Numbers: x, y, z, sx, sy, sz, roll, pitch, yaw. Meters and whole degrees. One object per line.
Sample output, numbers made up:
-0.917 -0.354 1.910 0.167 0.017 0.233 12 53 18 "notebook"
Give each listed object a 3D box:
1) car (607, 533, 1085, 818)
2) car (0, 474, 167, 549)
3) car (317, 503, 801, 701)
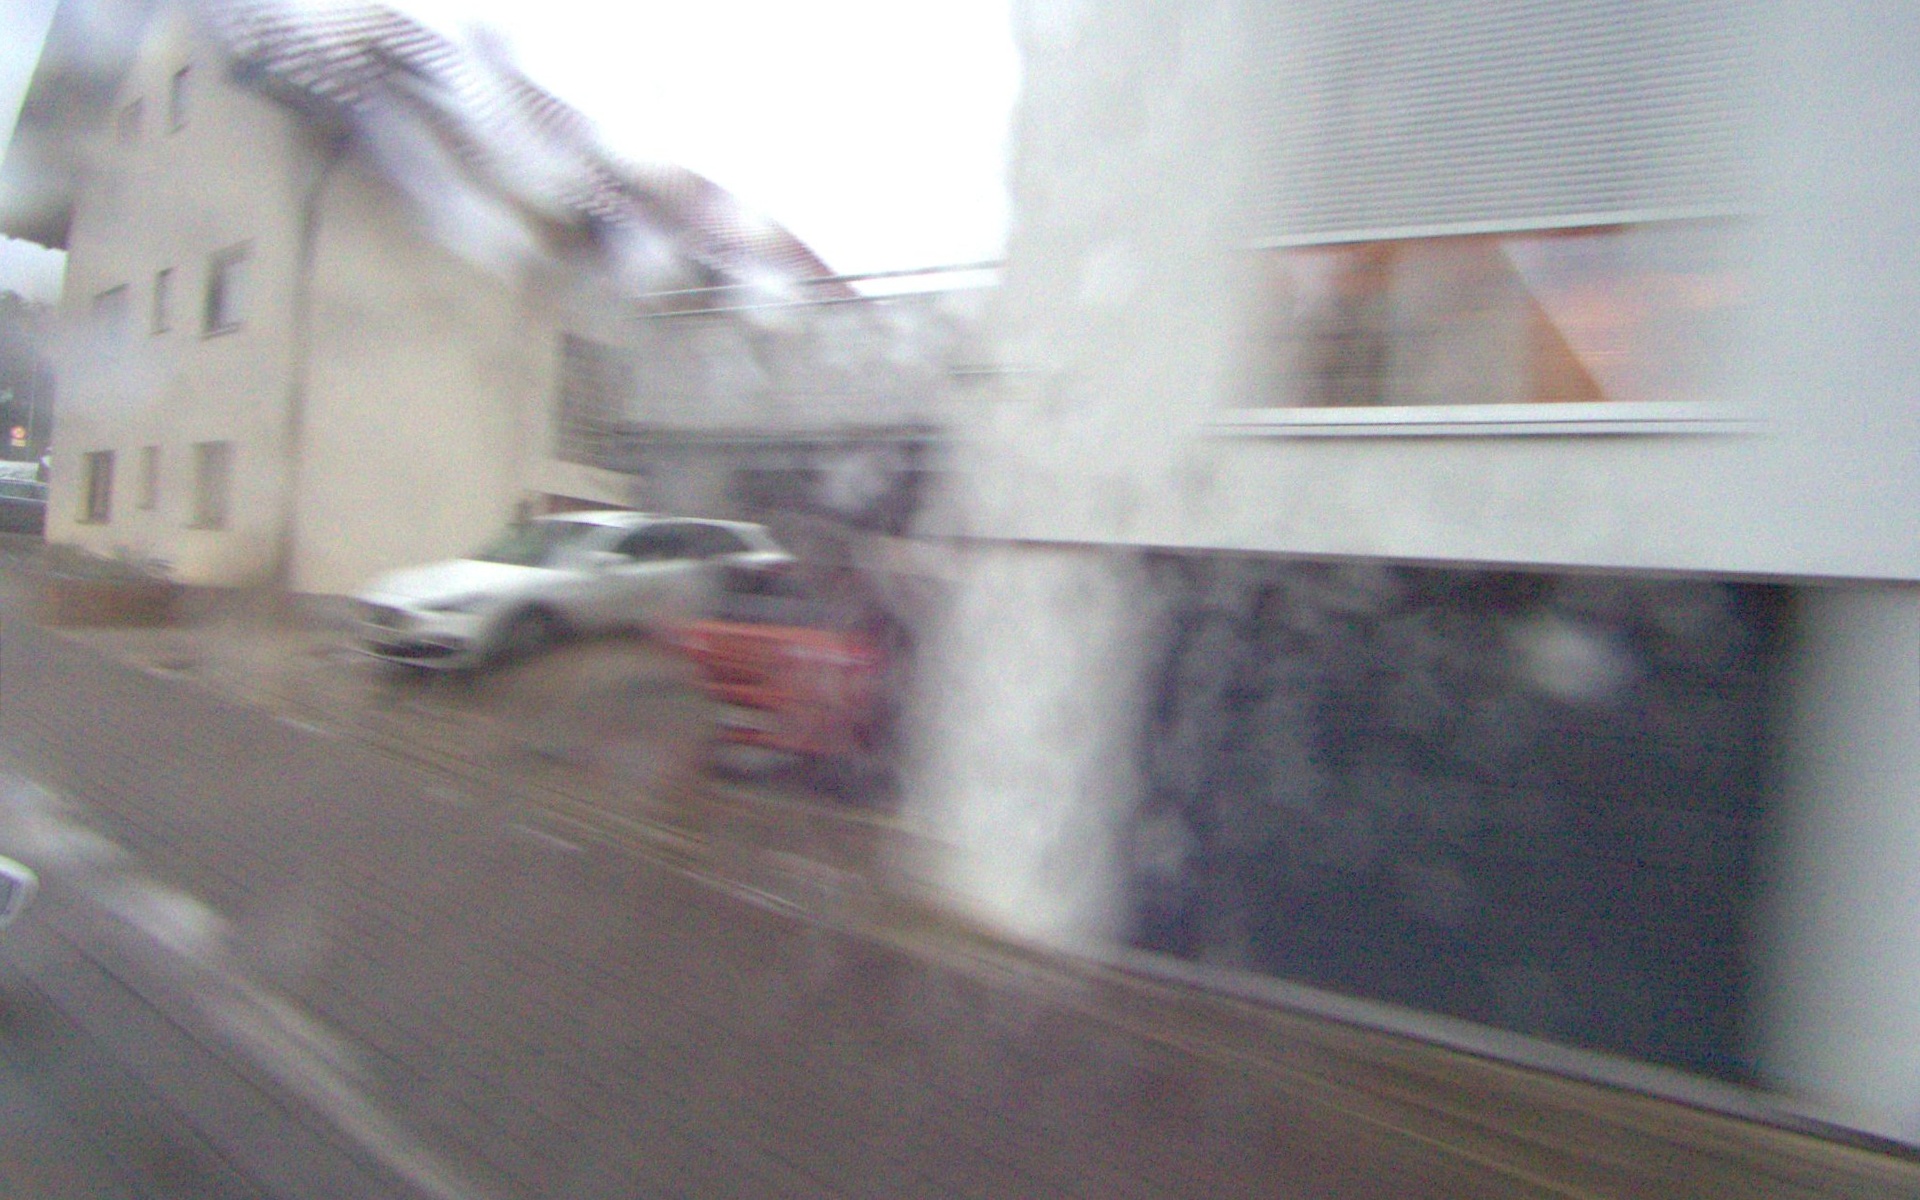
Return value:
-0.550 0.498 7.780 1.660 1.475 3.995 7 0 26 "car"
-22.546 -2.236 24.709 1.972 1.463 4.495 8 2 41 "car"
-3.691 -0.190 10.097 1.750 1.480 4.269 6 8 32 "car"
